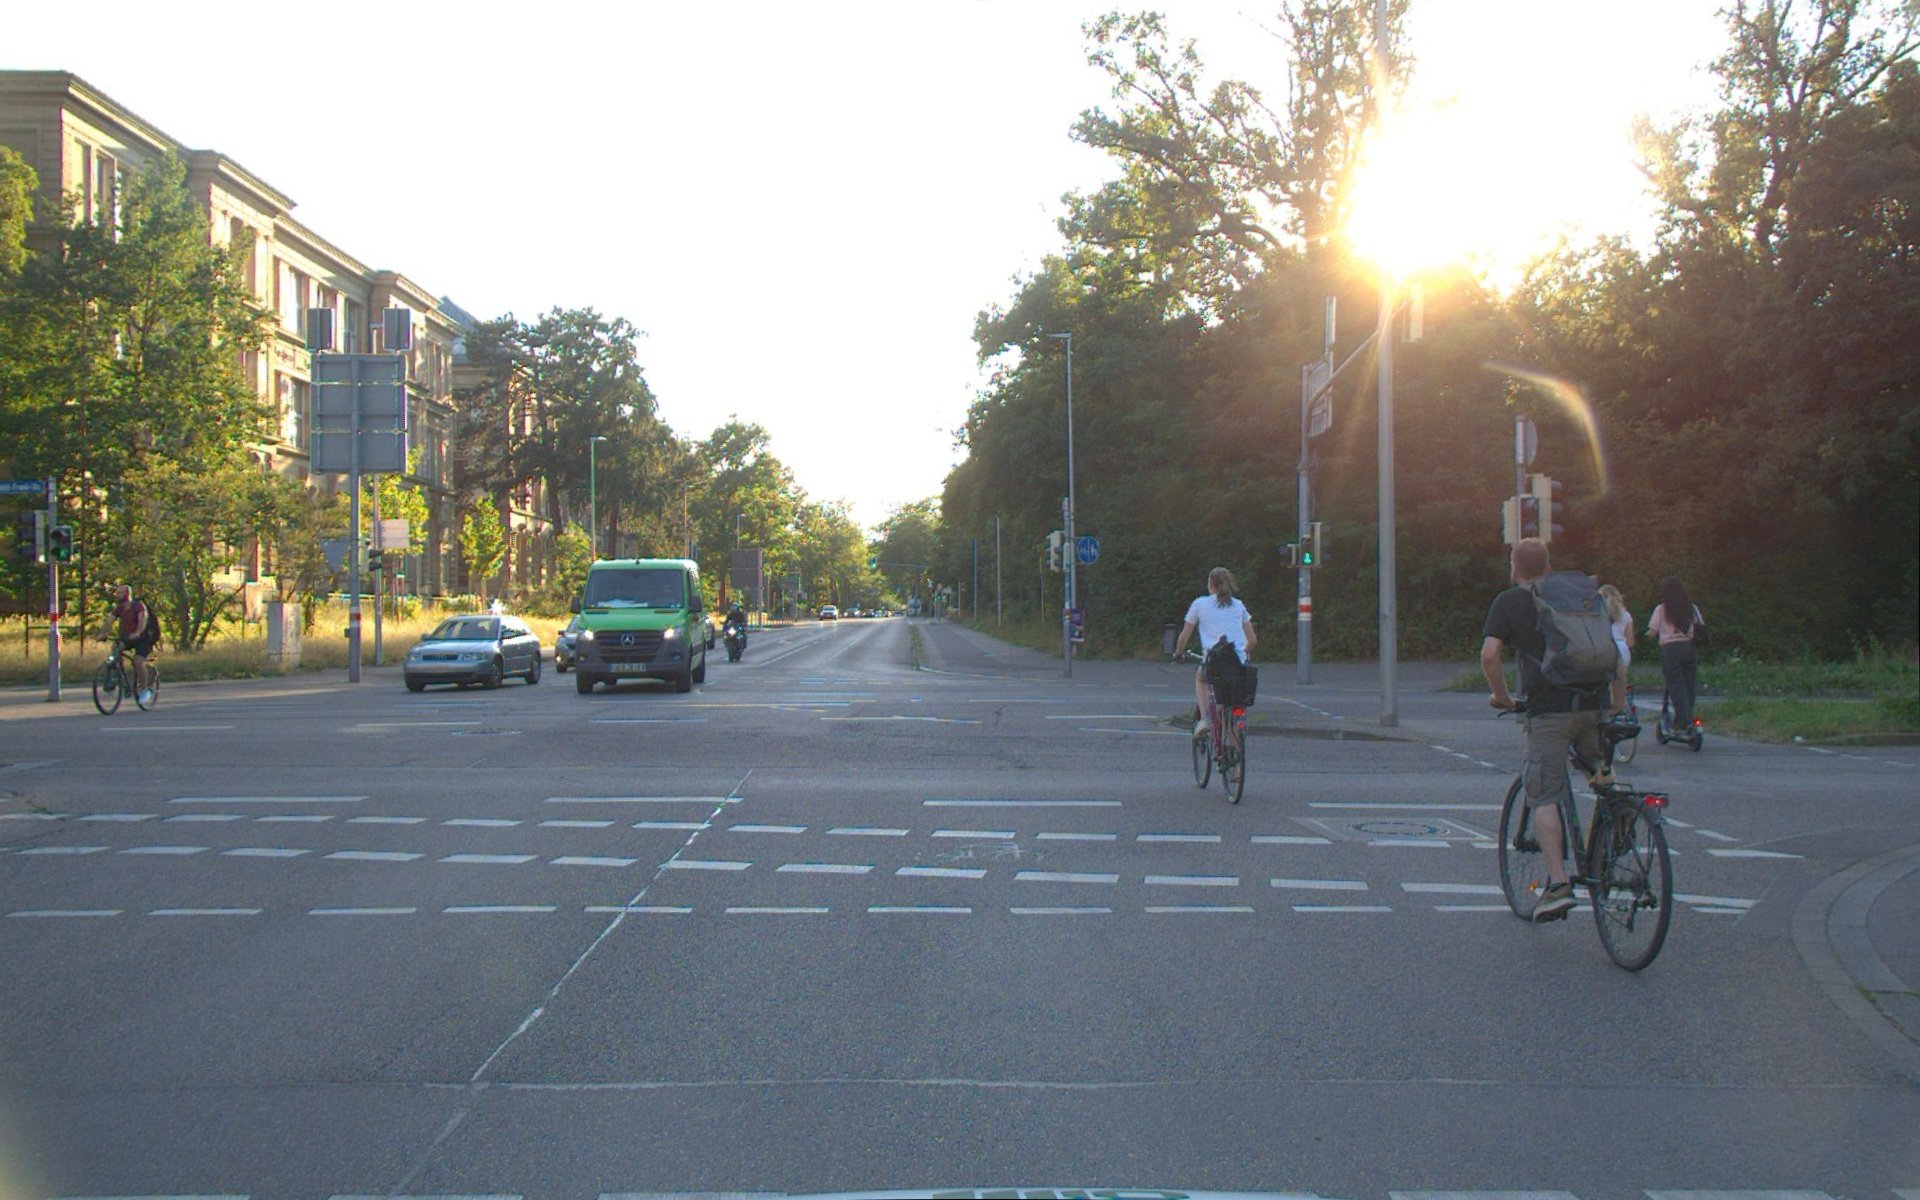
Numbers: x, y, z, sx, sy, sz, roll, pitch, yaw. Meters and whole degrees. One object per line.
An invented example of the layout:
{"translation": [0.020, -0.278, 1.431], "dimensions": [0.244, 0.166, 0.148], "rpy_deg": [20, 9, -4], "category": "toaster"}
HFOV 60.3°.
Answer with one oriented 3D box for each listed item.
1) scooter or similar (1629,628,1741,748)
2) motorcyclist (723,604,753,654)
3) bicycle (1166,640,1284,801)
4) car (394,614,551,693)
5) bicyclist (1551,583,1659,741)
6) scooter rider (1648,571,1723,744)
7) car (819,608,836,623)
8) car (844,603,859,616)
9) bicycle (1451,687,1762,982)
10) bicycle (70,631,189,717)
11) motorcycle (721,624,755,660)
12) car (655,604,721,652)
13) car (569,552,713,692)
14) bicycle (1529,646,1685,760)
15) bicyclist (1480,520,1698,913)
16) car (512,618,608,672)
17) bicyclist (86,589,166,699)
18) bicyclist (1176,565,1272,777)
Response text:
{"translation": [7.683, 0.910, 17.583], "dimensions": [0.550, 1.210, 1.422], "rpy_deg": [0, -1, 0], "category": "scooter or similar"}
{"translation": [-6.336, 0.828, 47.232], "dimensions": [0.734, 1.382, 0.703], "rpy_deg": [-1, -1, -2], "category": "motorcyclist"}
{"translation": [2.086, 0.920, 13.220], "dimensions": [0.601, 1.158, 1.884], "rpy_deg": [0, 0, -1], "category": "bicycle"}
{"translation": [-9.534, 0.998, 32.652], "dimensions": [1.694, 1.433, 4.141], "rpy_deg": [-1, 0, 3], "category": "car"}
{"translation": [6.482, 0.612, 16.651], "dimensions": [0.744, 1.544, 0.856], "rpy_deg": [0, 0, -1], "category": "bicyclist"}
{"translation": [7.681, 0.601, 17.529], "dimensions": [0.554, 1.797, 0.505], "rpy_deg": [0, -1, 0], "category": "scooter rider"}
{"translation": [-13.596, 1.558, 170.058], "dimensions": [1.736, 1.500, 3.772], "rpy_deg": [0, 0, -5], "category": "car"}
{"translation": [-14.200, 1.246, 216.060], "dimensions": [1.954, 1.668, 3.996], "rpy_deg": [0, 0, -5], "category": "car"}
{"translation": [2.846, 0.982, 7.495], "dimensions": [0.684, 1.081, 1.825], "rpy_deg": [1, -1, 0], "category": "bicycle"}
{"translation": [-11.981, 1.041, 23.934], "dimensions": [0.672, 1.143, 2.168], "rpy_deg": [0, 0, -1], "category": "bicycle"}
{"translation": [-6.335, 1.197, 47.276], "dimensions": [0.739, 1.019, 1.878], "rpy_deg": [0, -1, -1], "category": "motorcycle"}
{"translation": [-9.926, 1.008, 60.723], "dimensions": [1.729, 1.664, 4.511], "rpy_deg": [-1, 0, -1], "category": "car"}
{"translation": [-5.783, 0.387, 30.665], "dimensions": [1.999, 2.318, 5.934], "rpy_deg": [0, 0, -5], "category": "car"}
{"translation": [6.481, 1.001, 16.688], "dimensions": [0.755, 1.024, 2.016], "rpy_deg": [0, 0, -1], "category": "bicycle"}
{"translation": [2.855, 0.507, 7.579], "dimensions": [0.684, 1.696, 0.798], "rpy_deg": [1, -1, 0], "category": "bicyclist"}
{"translation": [-10.559, 1.158, 43.890], "dimensions": [1.729, 1.351, 3.642], "rpy_deg": [-1, 0, -1], "category": "car"}
{"translation": [-11.983, 0.618, 23.793], "dimensions": [0.669, 1.539, 0.955], "rpy_deg": [0, -1, -1], "category": "bicyclist"}
{"translation": [2.079, 0.542, 13.084], "dimensions": [0.591, 1.613, 0.909], "rpy_deg": [0, -1, -1], "category": "bicyclist"}
